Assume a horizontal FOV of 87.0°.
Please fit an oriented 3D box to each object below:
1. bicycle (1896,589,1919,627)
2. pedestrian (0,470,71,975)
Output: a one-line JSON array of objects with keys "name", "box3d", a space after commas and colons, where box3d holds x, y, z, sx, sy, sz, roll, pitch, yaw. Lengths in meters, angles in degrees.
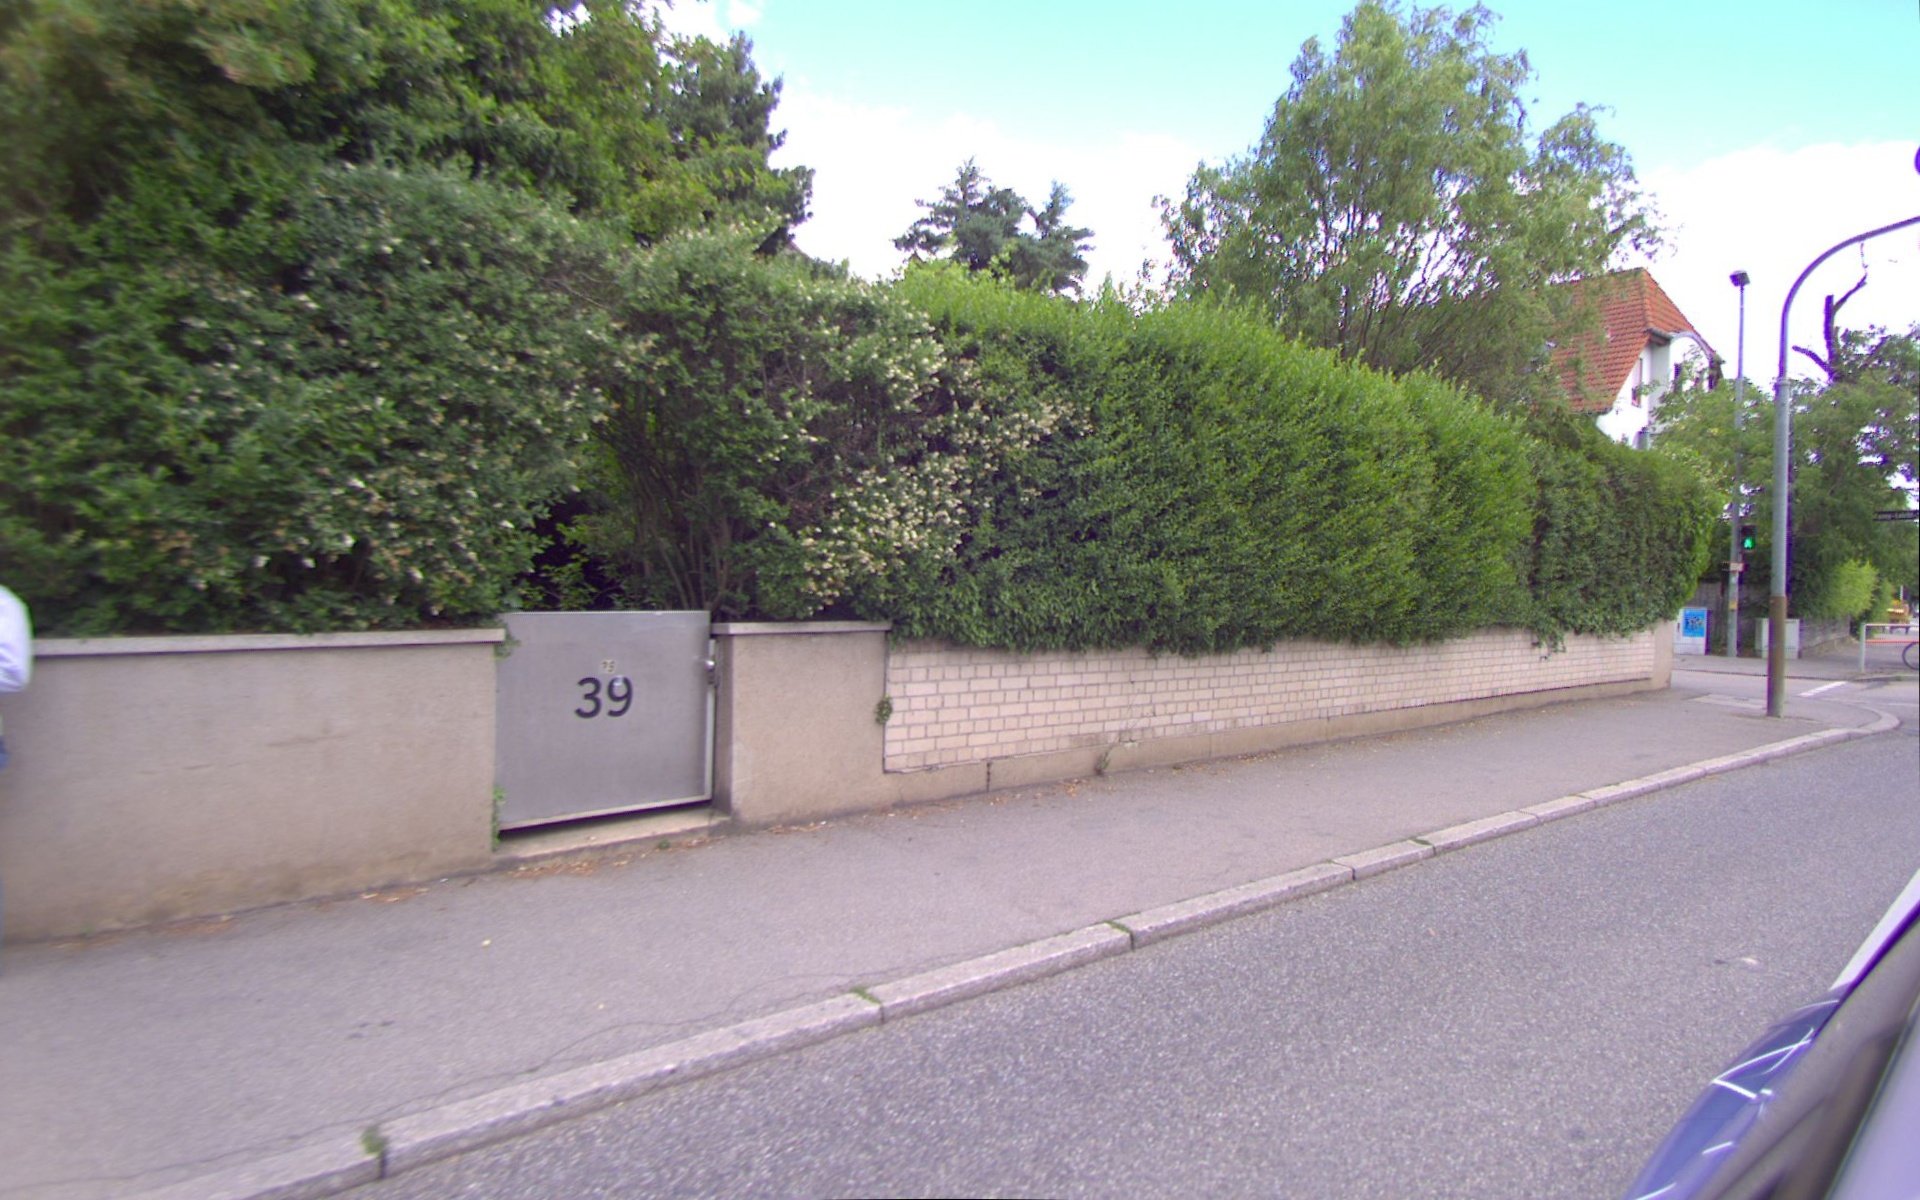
[{"name": "bicycle", "box3d": [41.742, 0.353, 44.284, 2.737, 1.528, 0.893, 0, 6, -45]}, {"name": "pedestrian", "box3d": [-3.234, 0.372, 3.202, 0.540, 1.574, 0.467, 6, 4, 28]}]
